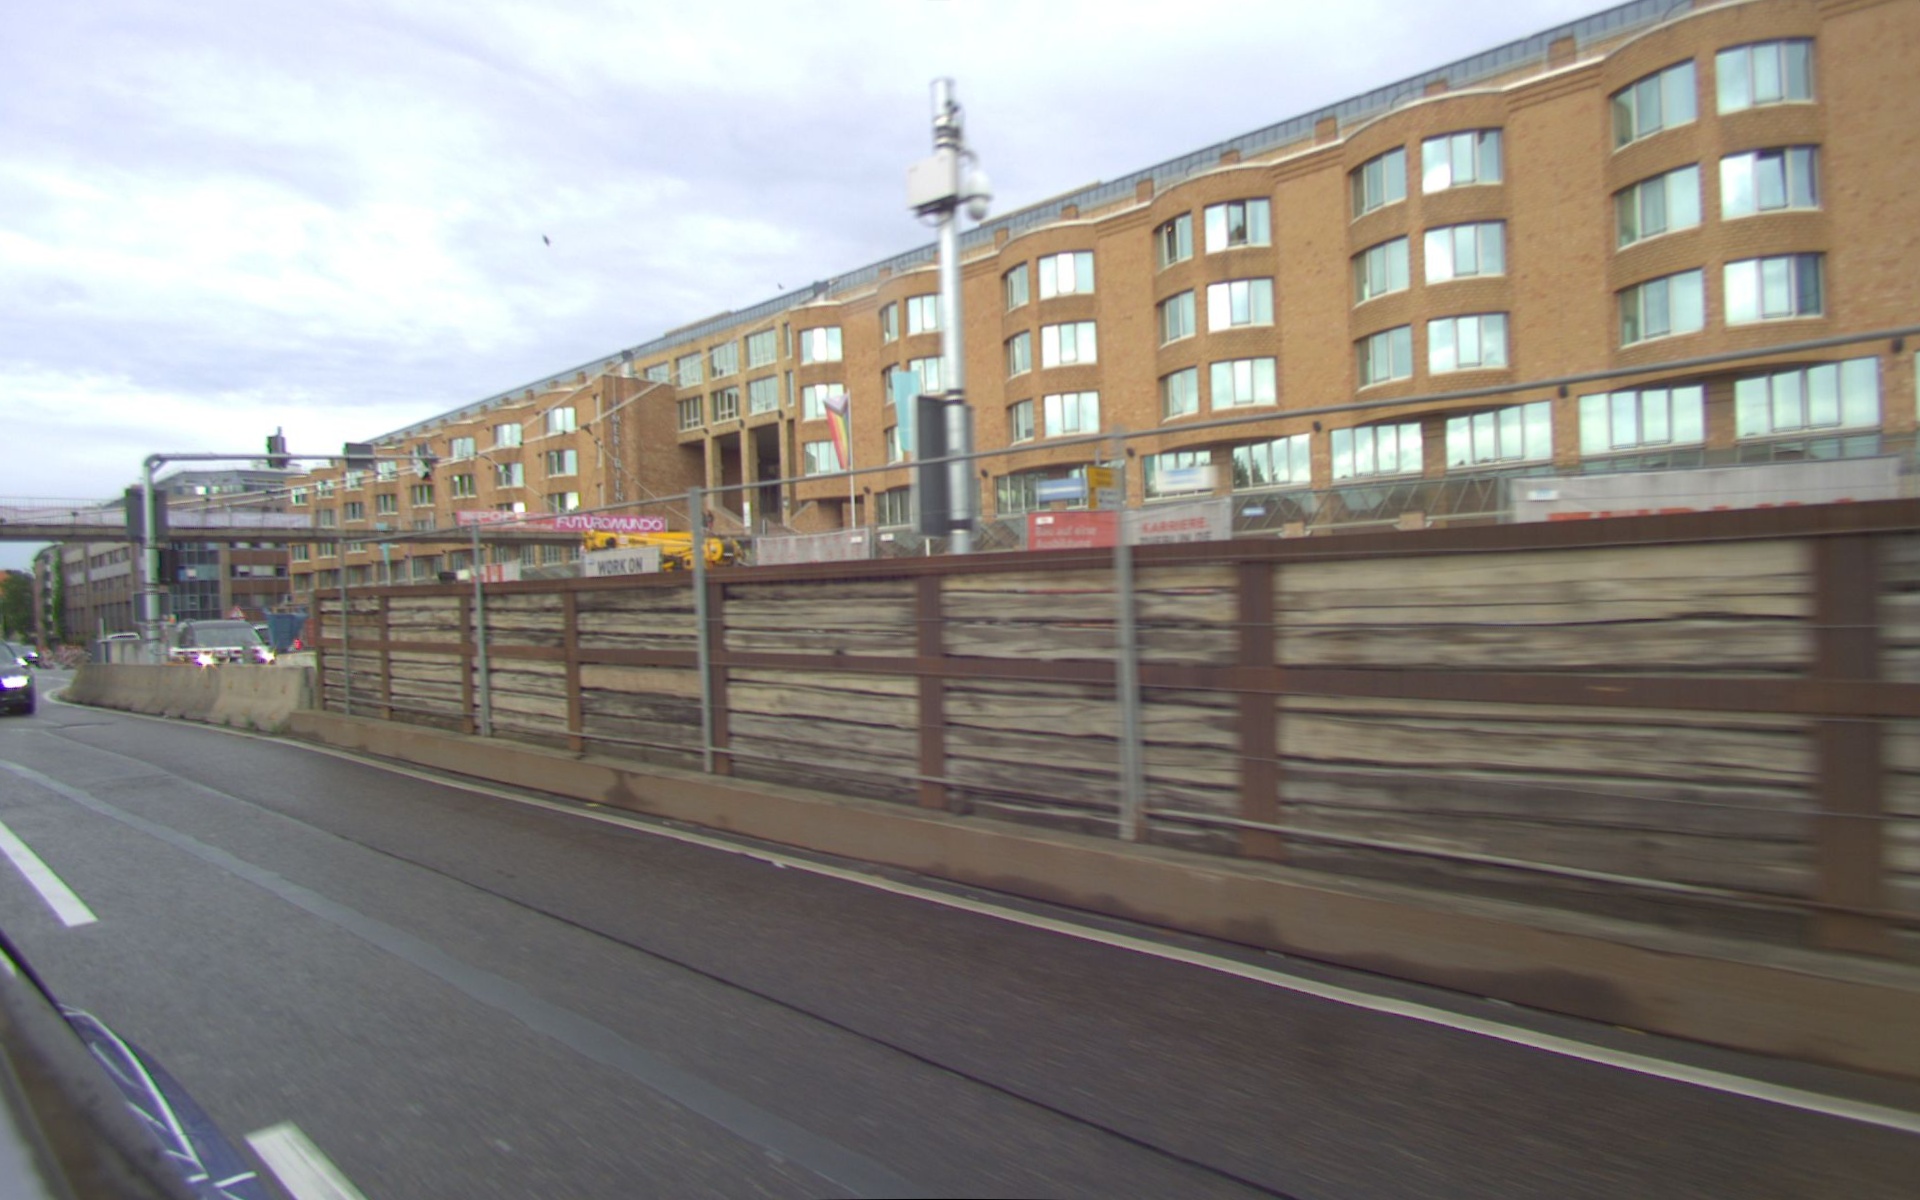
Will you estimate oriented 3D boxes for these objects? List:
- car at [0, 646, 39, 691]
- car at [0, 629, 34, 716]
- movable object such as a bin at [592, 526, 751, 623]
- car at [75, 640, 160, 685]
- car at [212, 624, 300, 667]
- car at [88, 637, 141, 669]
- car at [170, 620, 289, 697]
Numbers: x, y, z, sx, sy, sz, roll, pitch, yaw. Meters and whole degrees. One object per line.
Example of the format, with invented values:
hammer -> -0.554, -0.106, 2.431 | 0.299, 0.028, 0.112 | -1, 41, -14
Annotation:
car -> -36.355, 2.601, 38.297 | 4.655, 1.545, 1.749 | -3, 0, 42
car -> -18.391, 1.368, 18.711 | 1.746, 1.454, 4.662 | -3, 0, -42
movable object such as a bin -> -7.773, -0.584, 27.158 | 4.287, 2.295, 2.007 | -3, -4, 38
car -> -32.526, 2.405, 39.047 | 4.353, 1.545, 1.750 | -3, 0, 40
car -> -27.741, 1.807, 39.820 | 4.520, 1.561, 1.729 | -3, -1, 40
car -> -54.883, 3.453, 65.643 | 5.297, 1.835, 1.787 | -4, -2, 41
car -> -19.601, 1.543, 27.085 | 4.251, 1.814, 1.774 | -3, 0, 44
